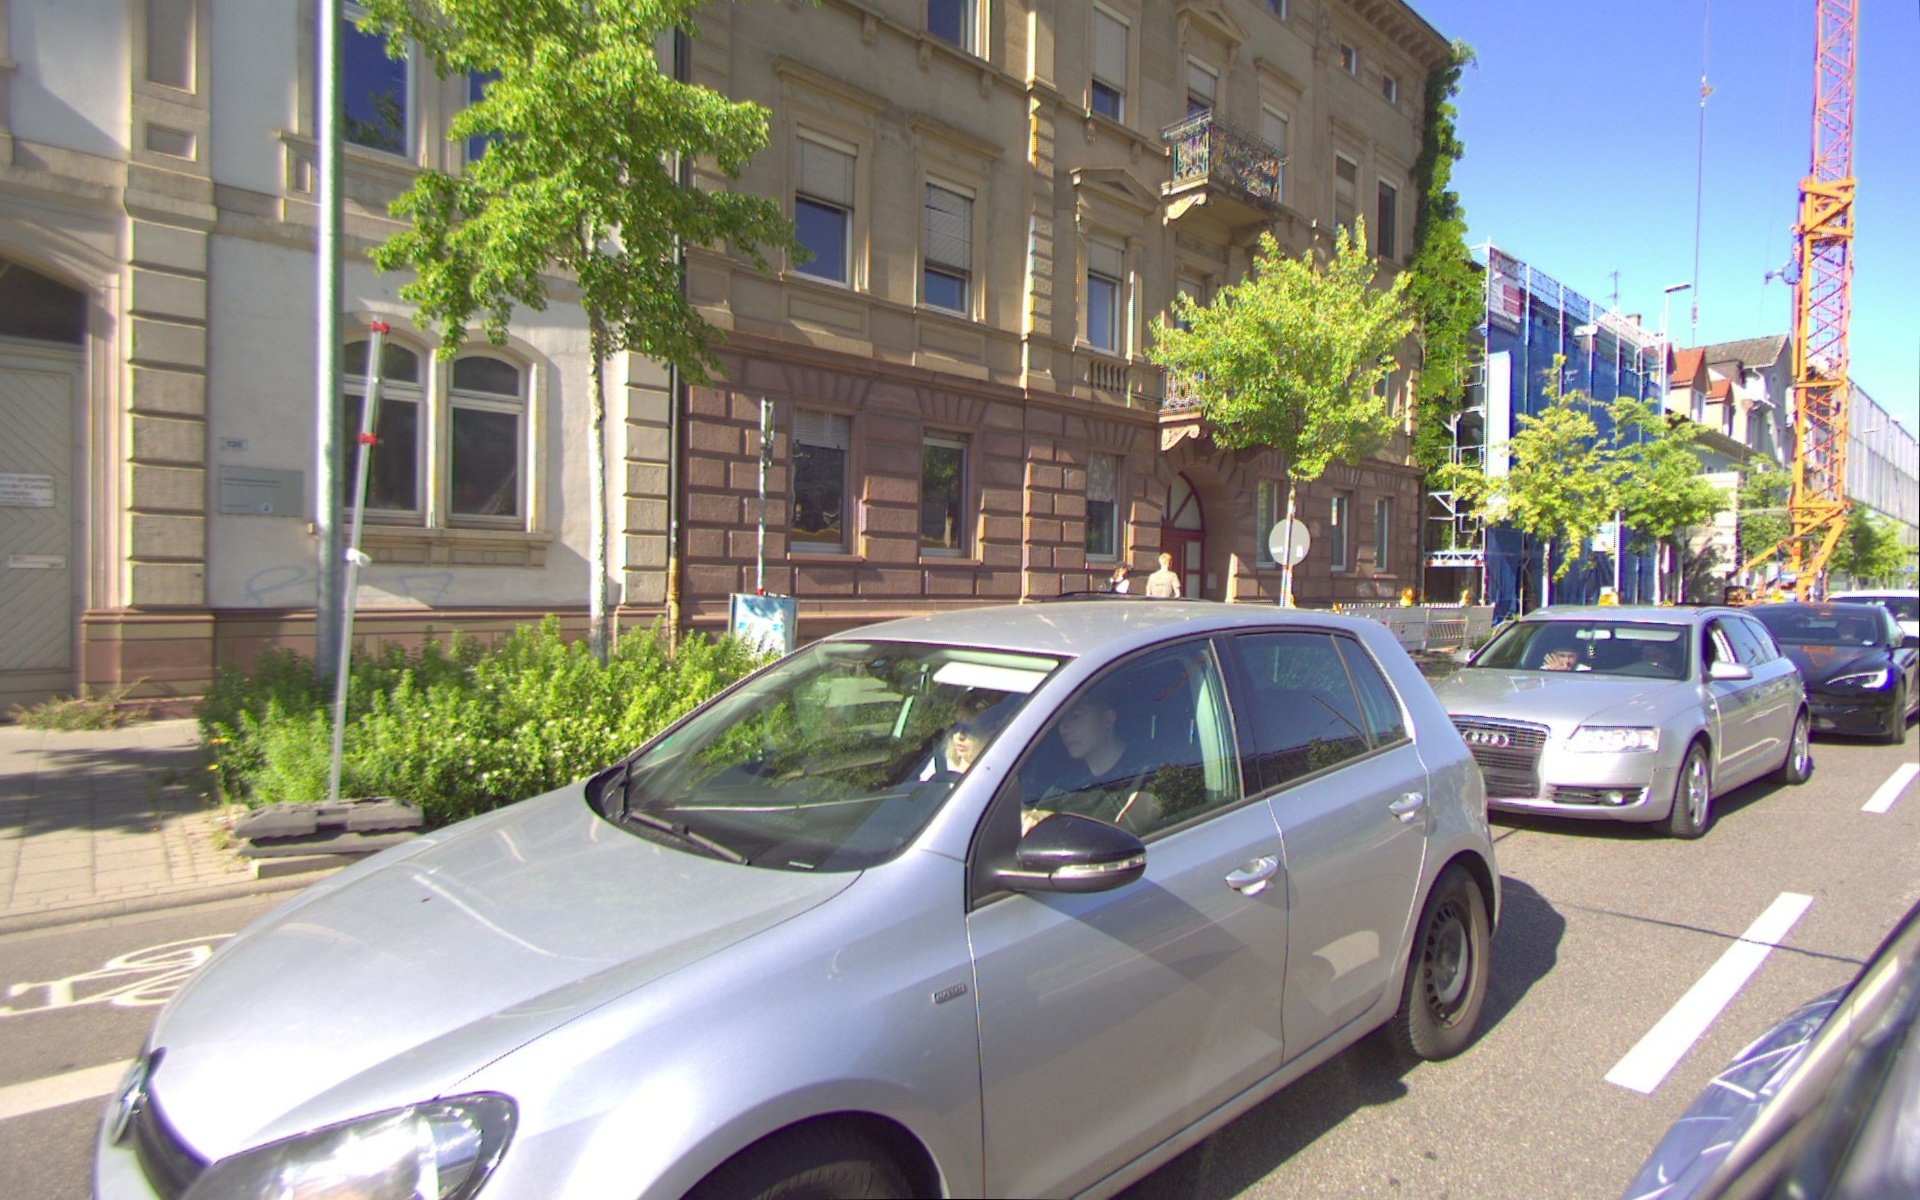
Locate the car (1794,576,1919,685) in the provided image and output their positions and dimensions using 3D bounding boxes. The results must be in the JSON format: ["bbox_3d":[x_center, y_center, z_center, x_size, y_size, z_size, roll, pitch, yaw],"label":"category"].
[{"bbox_3d":[15.687,0.464,17.022,3.930,1.654,1.932,0,0,-41],"label":"car"}]

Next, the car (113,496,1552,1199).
[{"bbox_3d":[0.057,0.655,3.002,3.934,1.547,1.753,0,0,-40],"label":"car"}]

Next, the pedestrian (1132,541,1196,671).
[{"bbox_3d":[3.173,0.078,15.748,0.577,1.936,0.660,0,4,-41],"label":"pedestrian"}]

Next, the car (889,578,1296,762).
[{"bbox_3d":[1.598,0.583,10.842,4.619,1.493,1.651,0,4,-42],"label":"car"}]

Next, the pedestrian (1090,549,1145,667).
[{"bbox_3d":[2.566,0.118,16.482,0.577,1.843,0.564,0,4,-41],"label":"pedestrian"}]

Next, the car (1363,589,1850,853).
[{"bbox_3d":[5.149,0.653,7.752,4.751,1.445,1.751,0,0,-39],"label":"car"}]

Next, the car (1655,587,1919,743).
[{"bbox_3d":[9.923,0.605,11.746,4.445,1.462,2.054,0,0,-41],"label":"car"}]
